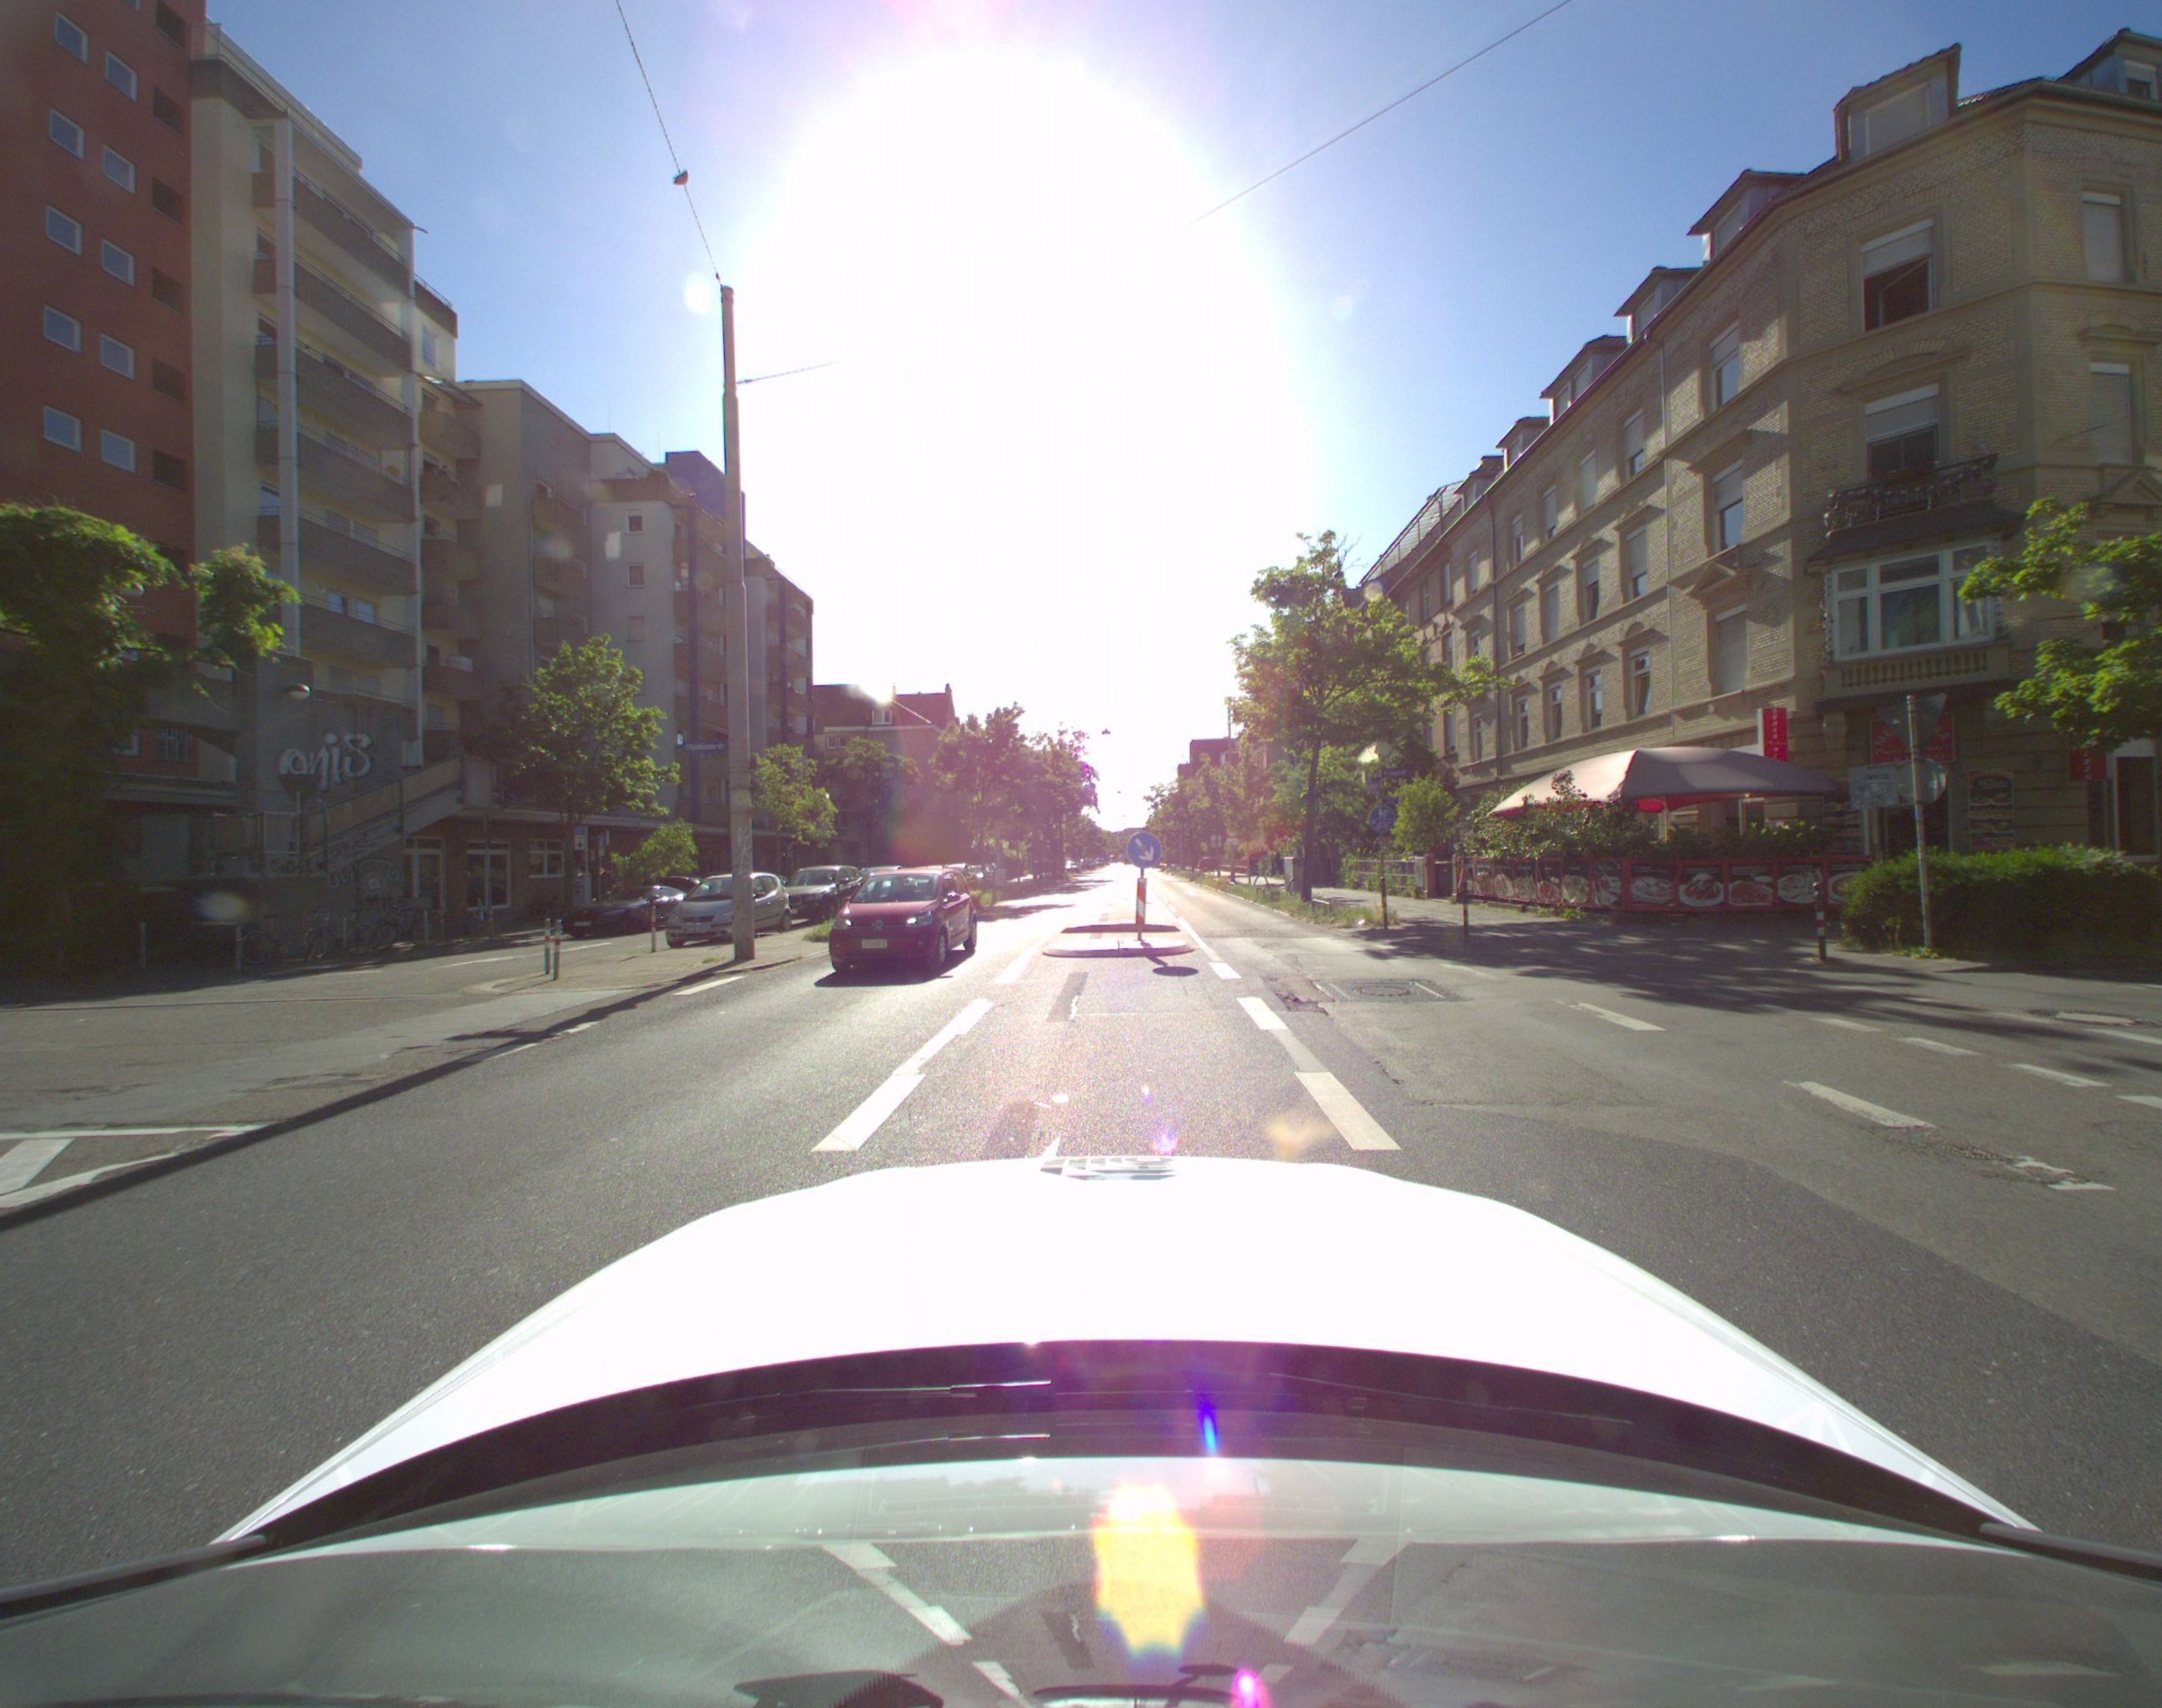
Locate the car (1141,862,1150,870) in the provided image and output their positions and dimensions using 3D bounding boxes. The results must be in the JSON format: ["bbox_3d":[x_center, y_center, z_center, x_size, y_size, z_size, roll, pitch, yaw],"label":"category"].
[{"bbox_3d":[14.453,2.634,182.254,1.942,1.708,4.004,-2,0,4],"label":"car"}]

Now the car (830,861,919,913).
[{"bbox_3d":[-7.582,1.176,30.430,1.881,1.662,4.533,-4,0,3],"label":"car"}]

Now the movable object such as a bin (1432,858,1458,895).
[{"bbox_3d":[11.491,0.712,25.693,0.566,1.133,0.552,-2,-1,4],"label":"movable object such as a bin"}]

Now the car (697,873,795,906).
[{"bbox_3d":[-16.114,1.700,39.286,3.975,1.424,1.687,-2,0,-1],"label":"car"}]

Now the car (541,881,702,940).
[{"bbox_3d":[-13.496,1.594,24.292,1.882,1.398,4.536,-2,0,5],"label":"car"}]

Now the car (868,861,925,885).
[{"bbox_3d":[-14.447,1.463,63.971,3.974,1.769,1.886,-2,0,0],"label":"car"}]

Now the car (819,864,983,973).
[{"bbox_3d":[-2.721,0.920,13.068,1.644,1.428,3.509,-2,0,3],"label":"car"}]

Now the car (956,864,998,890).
[{"bbox_3d":[-6.185,1.333,48.621,1.747,1.398,4.003,-2,0,3],"label":"car"}]

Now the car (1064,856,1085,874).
[{"bbox_3d":[-0.799,1.299,98.337,1.984,2.013,4.212,-2,0,5],"label":"car"}]

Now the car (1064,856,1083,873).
[{"bbox_3d":[-0.928,1.341,103.957,1.984,2.013,4.211,-2,0,5],"label":"car"}]

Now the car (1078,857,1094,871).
[{"bbox_3d":[0.804,1.515,125.287,2.051,2.013,4.635,-2,0,5],"label":"car"}]

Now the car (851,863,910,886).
[{"bbox_3d":[-15.126,1.519,61.553,3.975,1.629,1.687,-2,-1,-1],"label":"car"}]

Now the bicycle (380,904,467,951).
[{"bbox_3d":[-16.378,1.803,20.348,0.411,1.001,1.808,1,0,13],"label":"bicycle"}]

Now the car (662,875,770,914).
[{"bbox_3d":[-16.408,1.802,36.717,3.975,1.607,1.841,-2,-1,-1],"label":"car"}]

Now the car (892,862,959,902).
[{"bbox_3d":[-7.004,1.238,37.118,1.854,1.587,4.006,-3,0,5],"label":"car"}]

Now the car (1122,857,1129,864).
[{"bbox_3d":[11.674,1.708,212.347,1.750,1.783,4.004,-2,0,4],"label":"car"}]

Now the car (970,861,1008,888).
[{"bbox_3d":[-5.998,1.320,53.332,1.755,1.646,4.003,-2,0,3],"label":"car"}]

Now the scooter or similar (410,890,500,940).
[{"bbox_3d":[-17.441,1.685,22.720,1.961,1.277,0.630,-2,0,-2],"label":"scooter or similar"}]

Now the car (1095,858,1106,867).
[{"bbox_3d":[4.277,1.817,174.918,1.984,1.695,4.006,-2,0,5],"label":"car"}]

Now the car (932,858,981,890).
[{"bbox_3d":[-6.572,1.031,43.331,1.744,1.553,4.003,-2,0,3],"label":"car"}]

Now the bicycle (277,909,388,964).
[{"bbox_3d":[-16.548,1.801,18.064,0.410,1.031,1.811,1,0,20],"label":"bicycle"}]

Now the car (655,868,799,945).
[{"bbox_3d":[-8.139,1.152,19.073,1.713,1.518,3.532,-2,0,1],"label":"car"}]

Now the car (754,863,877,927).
[{"bbox_3d":[-7.716,1.131,24.181,1.860,1.627,4.509,-2,0,4],"label":"car"}]

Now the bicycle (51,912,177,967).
[{"bbox_3d":[-19.536,1.724,16.469,1.793,1.001,0.483,-1,0,-6],"label":"bicycle"}]

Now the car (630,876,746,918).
[{"bbox_3d":[-16.510,1.782,34.312,3.975,1.551,1.769,-2,-1,-1],"label":"car"}]

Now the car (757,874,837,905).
[{"bbox_3d":[-16.373,2.015,47.116,3.975,1.629,1.687,-2,-1,-1],"label":"car"}]

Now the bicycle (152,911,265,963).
[{"bbox_3d":[-18.430,1.750,17.231,1.617,1.001,0.412,0,0,-20],"label":"bicycle"}]

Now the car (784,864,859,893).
[{"bbox_3d":[-15.792,1.480,49.684,3.975,1.629,1.687,-2,-1,-1],"label":"car"}]

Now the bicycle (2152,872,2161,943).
[{"bbox_3d":[15.619,0.729,11.253,1.308,0.974,0.392,-2,-1,-8],"label":"bicycle"}]

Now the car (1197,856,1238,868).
[{"bbox_3d":[14.167,0.828,84.851,3.975,1.223,1.803,-1,0,-1],"label":"car"}]
